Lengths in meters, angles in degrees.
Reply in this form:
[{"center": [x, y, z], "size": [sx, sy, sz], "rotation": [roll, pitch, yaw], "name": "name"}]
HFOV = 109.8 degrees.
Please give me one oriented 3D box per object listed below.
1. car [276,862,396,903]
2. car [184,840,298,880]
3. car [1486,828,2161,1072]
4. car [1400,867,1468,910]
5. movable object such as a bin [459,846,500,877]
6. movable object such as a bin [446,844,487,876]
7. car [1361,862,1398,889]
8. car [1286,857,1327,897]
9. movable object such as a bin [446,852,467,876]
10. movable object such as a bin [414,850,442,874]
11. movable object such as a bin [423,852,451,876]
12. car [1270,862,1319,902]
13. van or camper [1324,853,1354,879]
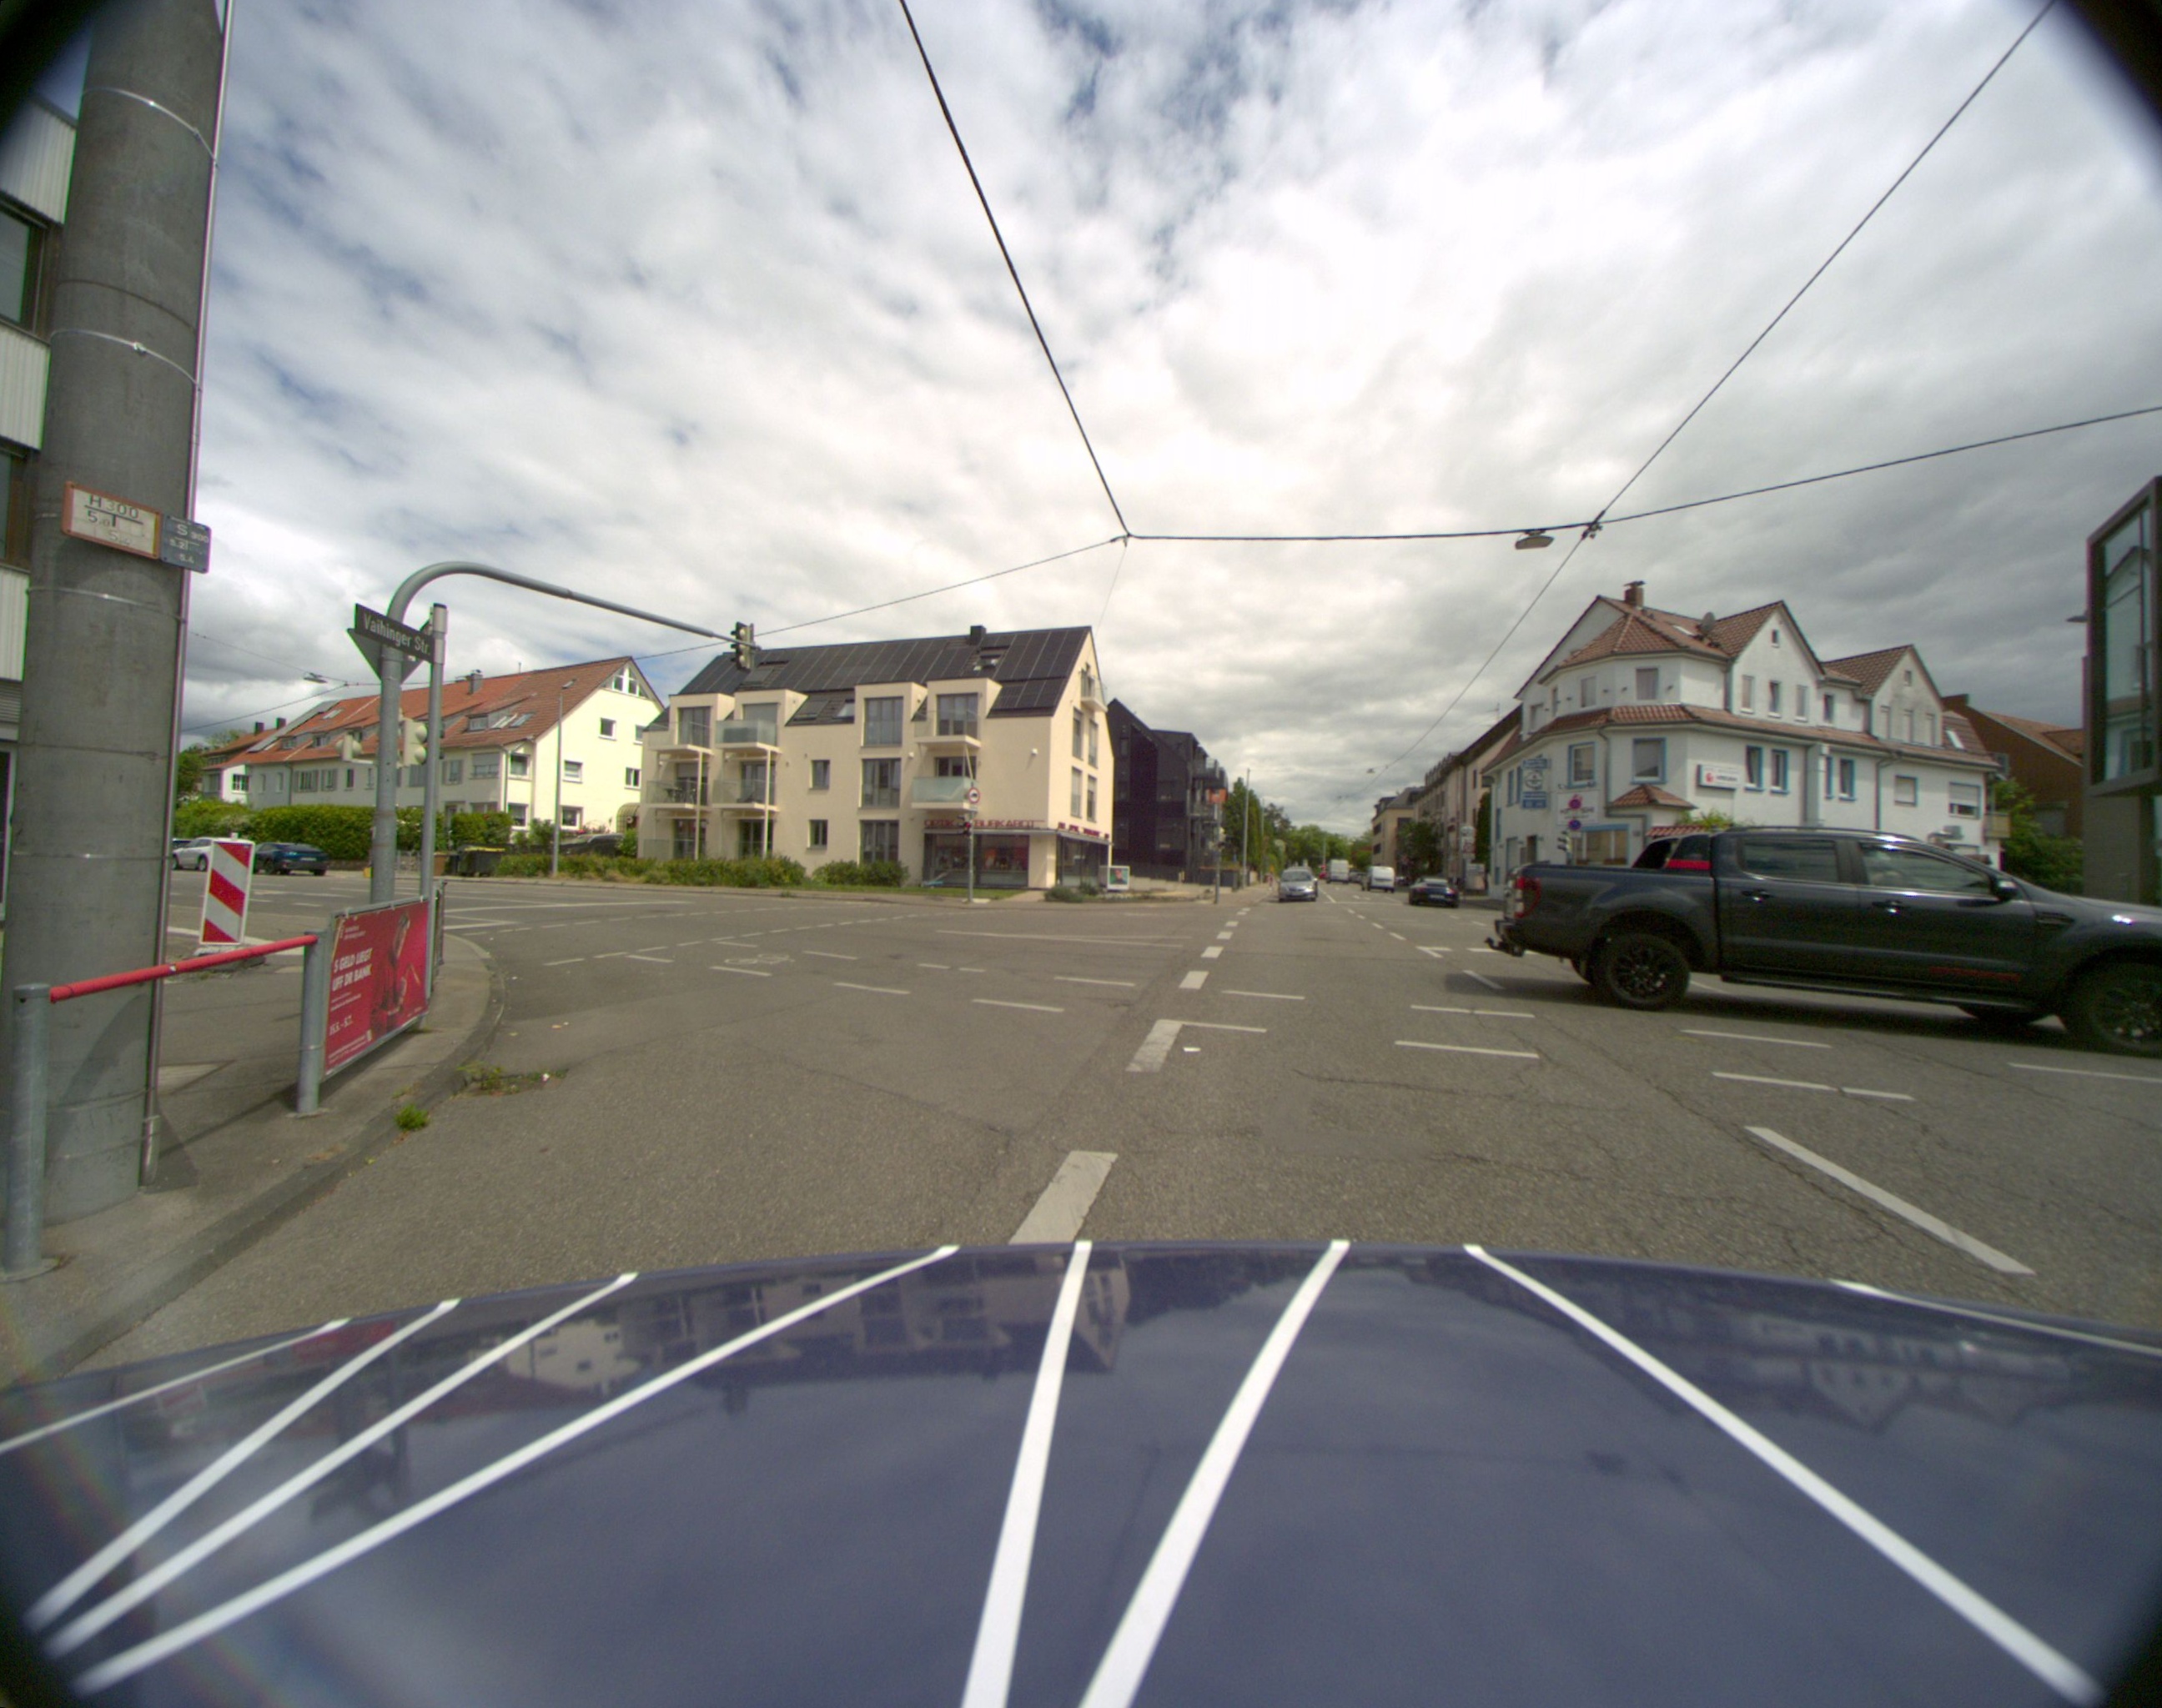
[{"center": [-31.357, 1.159, 31.986], "size": [4.443, 1.492, 1.823], "rotation": [2, 0, 19], "name": "car"}, {"center": [-37.652, 0.243, 34.070], "size": [4.442, 1.623, 2.004], "rotation": [1, 0, 22], "name": "car"}, {"center": [7.032, 0.733, 7.525], "size": [5.206, 1.838, 1.892], "rotation": [1, 0, 25], "name": "car"}, {"center": [14.991, 1.399, 32.479], "size": [1.995, 1.521, 4.005], "rotation": [4, 1, 17], "name": "car"}, {"center": [-27.063, 0.324, 34.211], "size": [0.978, 1.354, 1.095], "rotation": [2, 0, 22], "name": "movable object such as a bin"}, {"center": [-28.156, 0.274, 34.809], "size": [0.978, 1.438, 1.095], "rotation": [2, 0, 22], "name": "movable object such as a bin"}, {"center": [21.468, 1.566, 54.800], "size": [1.818, 1.801, 4.424], "rotation": [2, -1, 14], "name": "car"}, {"center": [12.318, 1.205, 41.620], "size": [1.996, 2.002, 4.005], "rotation": [1, 0, 16], "name": "car"}, {"center": [-28.973, 0.454, 35.237], "size": [0.524, 1.059, 0.655], "rotation": [2, 0, -17], "name": "movable object such as a bin"}, {"center": [-30.003, 0.363, 34.920], "size": [0.690, 1.059, 0.766], "rotation": [2, 0, 29], "name": "movable object such as a bin"}, {"center": [-29.358, 0.443, 34.662], "size": [0.690, 1.059, 0.766], "rotation": [2, 0, 29], "name": "movable object such as a bin"}, {"center": [10.057, 1.315, 35.802], "size": [1.996, 1.673, 4.006], "rotation": [-4, -2, 16], "name": "car"}, {"center": [27.746, 1.298, 81.943], "size": [2.110, 2.571, 5.651], "rotation": [4, 0, 11], "name": "van or camper"}]
